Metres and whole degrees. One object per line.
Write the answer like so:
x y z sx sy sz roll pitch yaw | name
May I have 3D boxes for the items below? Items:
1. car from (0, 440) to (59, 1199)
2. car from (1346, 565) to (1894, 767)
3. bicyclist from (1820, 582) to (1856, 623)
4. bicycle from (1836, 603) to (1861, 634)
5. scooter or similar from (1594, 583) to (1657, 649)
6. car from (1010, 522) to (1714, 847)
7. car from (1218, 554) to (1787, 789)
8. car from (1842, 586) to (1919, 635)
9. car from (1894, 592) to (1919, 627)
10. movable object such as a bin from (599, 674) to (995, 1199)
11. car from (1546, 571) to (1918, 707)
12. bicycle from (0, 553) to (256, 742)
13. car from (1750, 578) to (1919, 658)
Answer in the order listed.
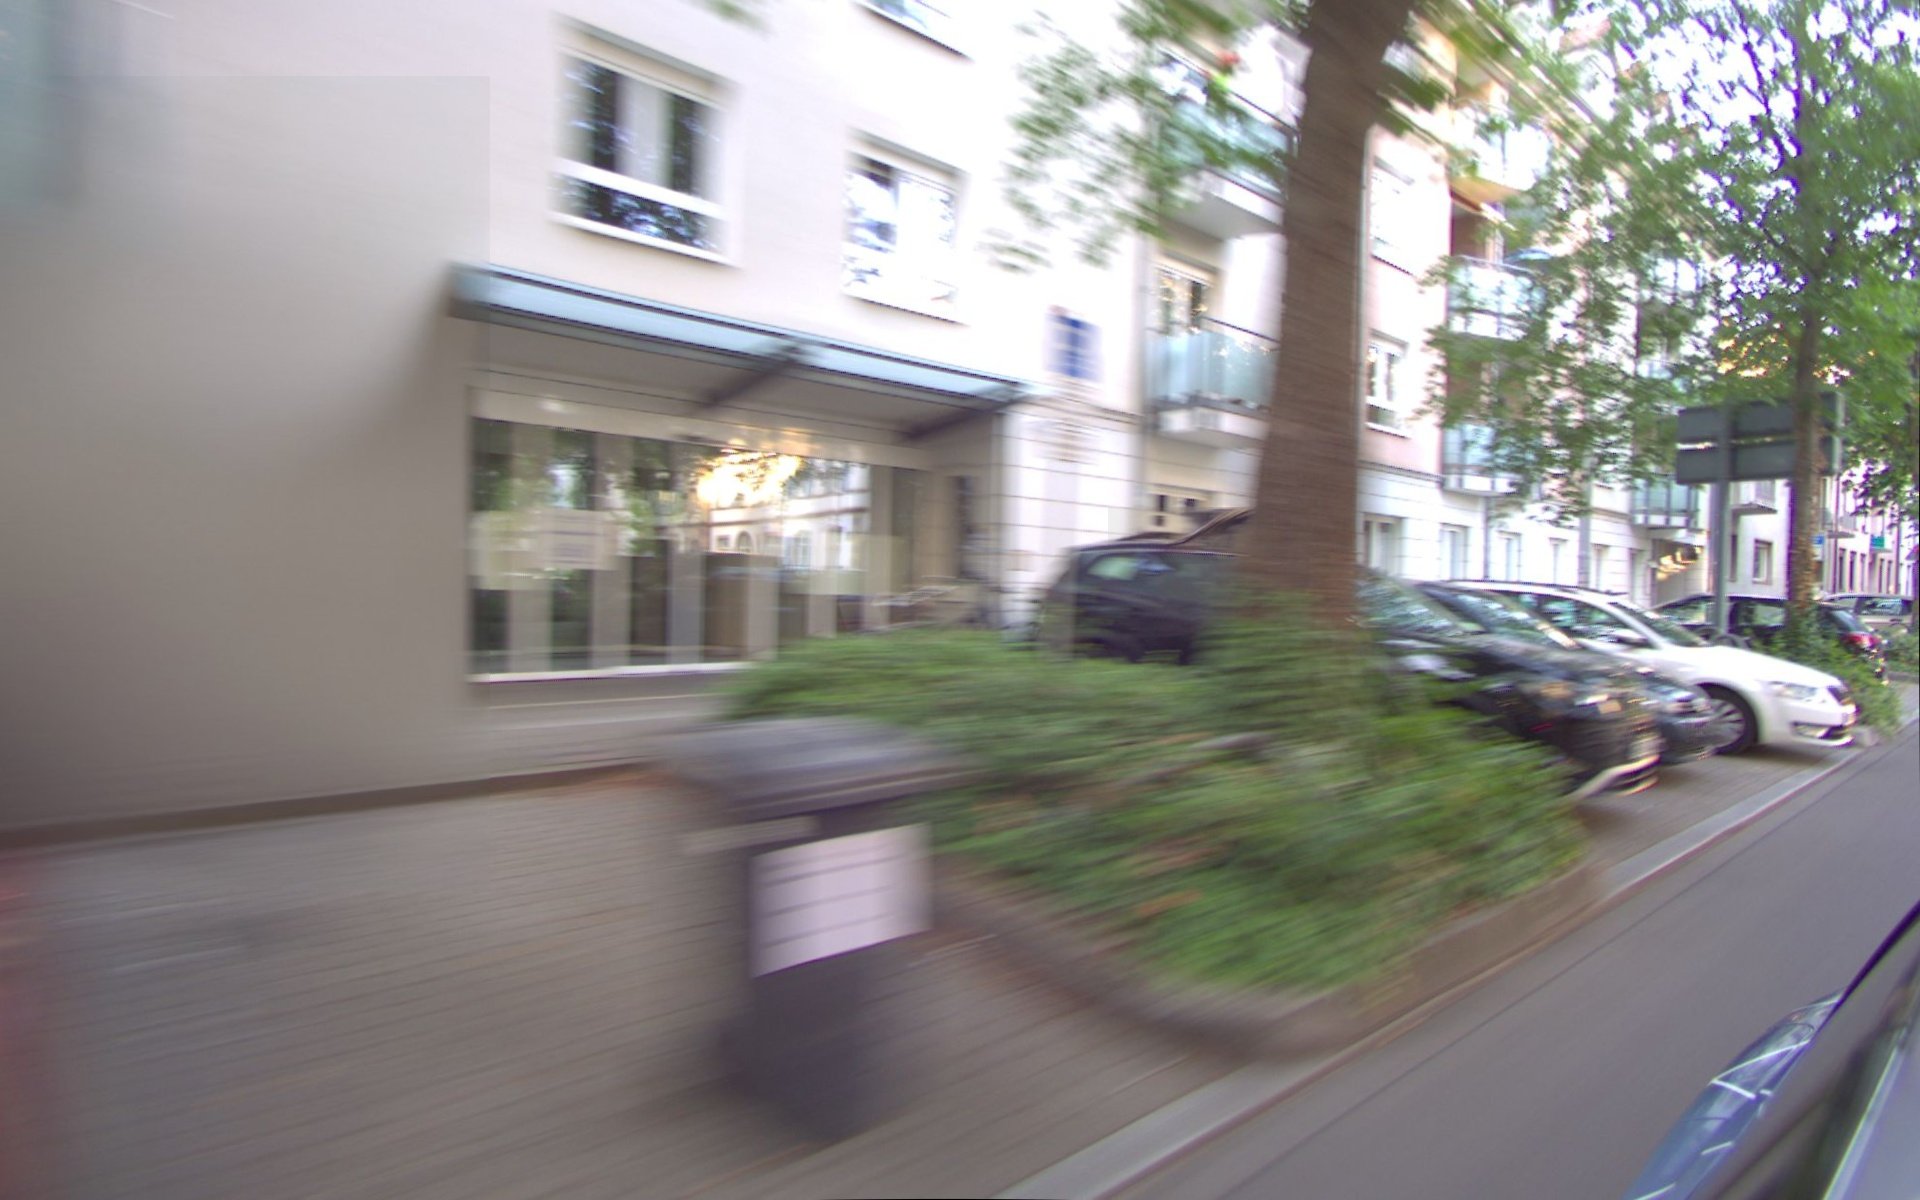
-3.261 0.516 2.239 1.845 1.563 3.782 0 1 -41 | car
6.837 0.507 10.979 1.765 1.485 4.611 0 4 -41 | car
35.534 0.099 40.946 1.117 1.624 0.971 0 1 -43 | bicyclist
35.987 0.727 40.970 0.620 1.178 3.348 2 1 43 | bicycle
13.063 0.300 19.856 1.430 1.217 0.656 0 4 -43 | scooter or similar
2.785 0.341 7.909 1.977 1.637 4.649 0 5 -44 | car
4.776 0.442 9.495 1.894 1.455 4.238 0 5 -38 | car
31.502 0.429 32.437 1.973 1.444 4.476 1 4 -36 | car
42.722 0.539 42.472 2.004 1.465 4.855 1 3 -38 | car
-0.463 0.810 2.793 0.771 1.097 0.762 1 2 -39 | movable object such as a bin
11.247 0.457 14.932 4.087 1.468 1.904 7 5 45 | car
-5.293 0.261 5.950 1.849 1.049 0.425 1 2 -41 | bicycle
21.573 0.408 24.101 1.883 1.604 3.979 0 4 -41 | car
